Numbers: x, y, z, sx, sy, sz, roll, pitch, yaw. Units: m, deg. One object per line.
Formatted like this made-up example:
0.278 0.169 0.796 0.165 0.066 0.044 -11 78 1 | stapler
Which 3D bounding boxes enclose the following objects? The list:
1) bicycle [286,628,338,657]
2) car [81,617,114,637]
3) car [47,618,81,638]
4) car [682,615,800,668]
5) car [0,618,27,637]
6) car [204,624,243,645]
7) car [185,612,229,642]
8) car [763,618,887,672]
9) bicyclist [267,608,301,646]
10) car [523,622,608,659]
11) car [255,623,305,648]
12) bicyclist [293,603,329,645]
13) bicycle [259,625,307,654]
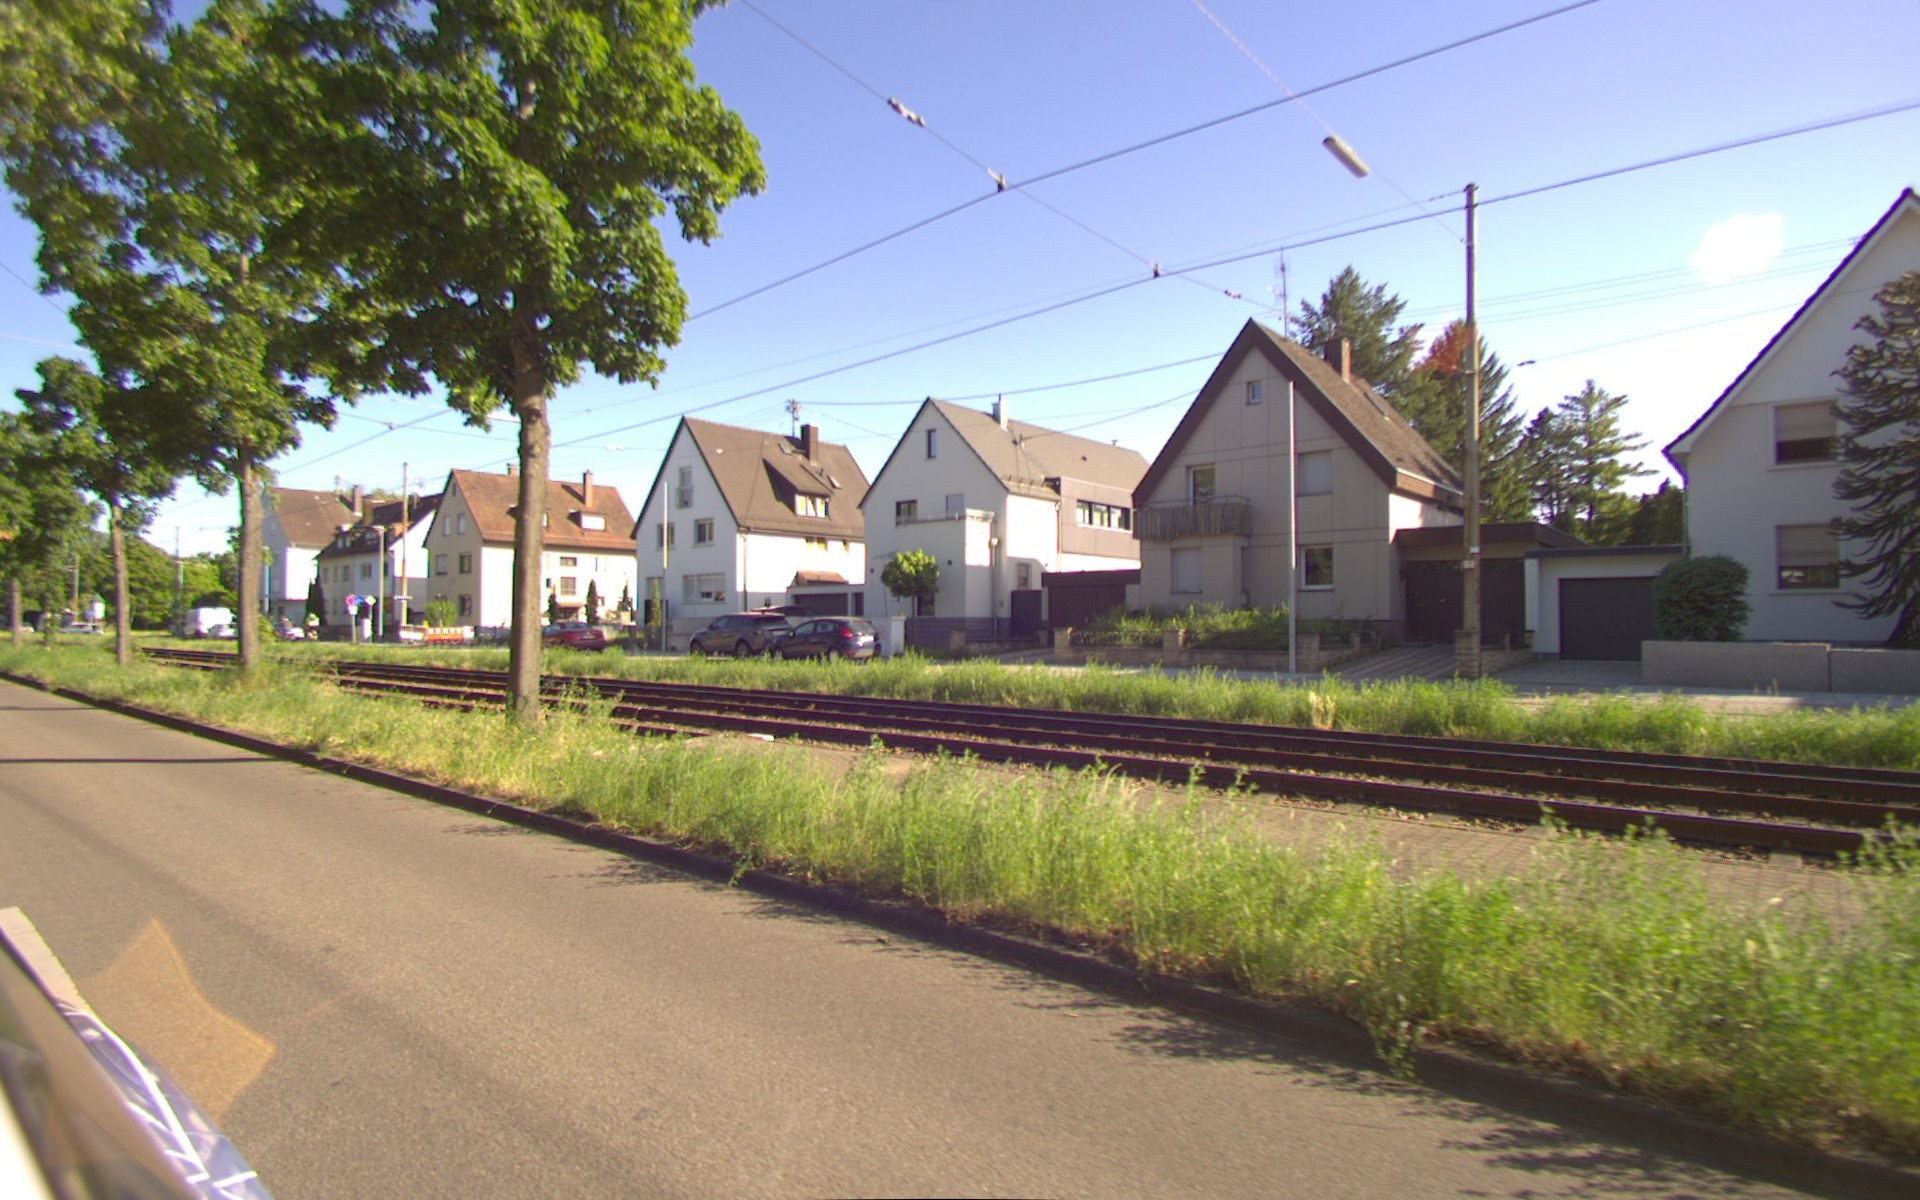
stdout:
-35.616 2.311 55.578 3.998 1.506 1.336 -1 0 41 | bicycle
-91.519 2.871 107.398 3.997 2.050 2.106 -1 0 40 | car
-93.386 2.895 105.431 3.997 2.050 2.106 -1 0 40 | car
-7.306 1.324 33.588 4.010 1.609 1.779 -1 0 41 | car
-106.172 3.075 113.254 3.997 2.050 2.106 -1 0 40 | car
-55.286 2.558 75.946 4.001 1.517 1.767 -1 0 44 | car
-58.915 2.068 79.147 4.001 2.239 2.104 -1 0 44 | car
-4.175 1.328 30.931 3.754 1.501 1.716 -1 0 41 | car
-39.413 1.542 59.023 1.308 2.176 1.336 -1 0 41 | bicyclist
-16.392 1.648 42.031 3.822 1.392 1.733 -1 0 41 | car
-44.909 2.321 66.825 3.998 1.517 1.768 -1 0 41 | car
-35.639 1.321 55.569 1.622 2.250 1.293 -1 0 41 | bicyclist
-39.684 2.305 59.299 3.998 1.589 1.336 -1 0 41 | bicycle
